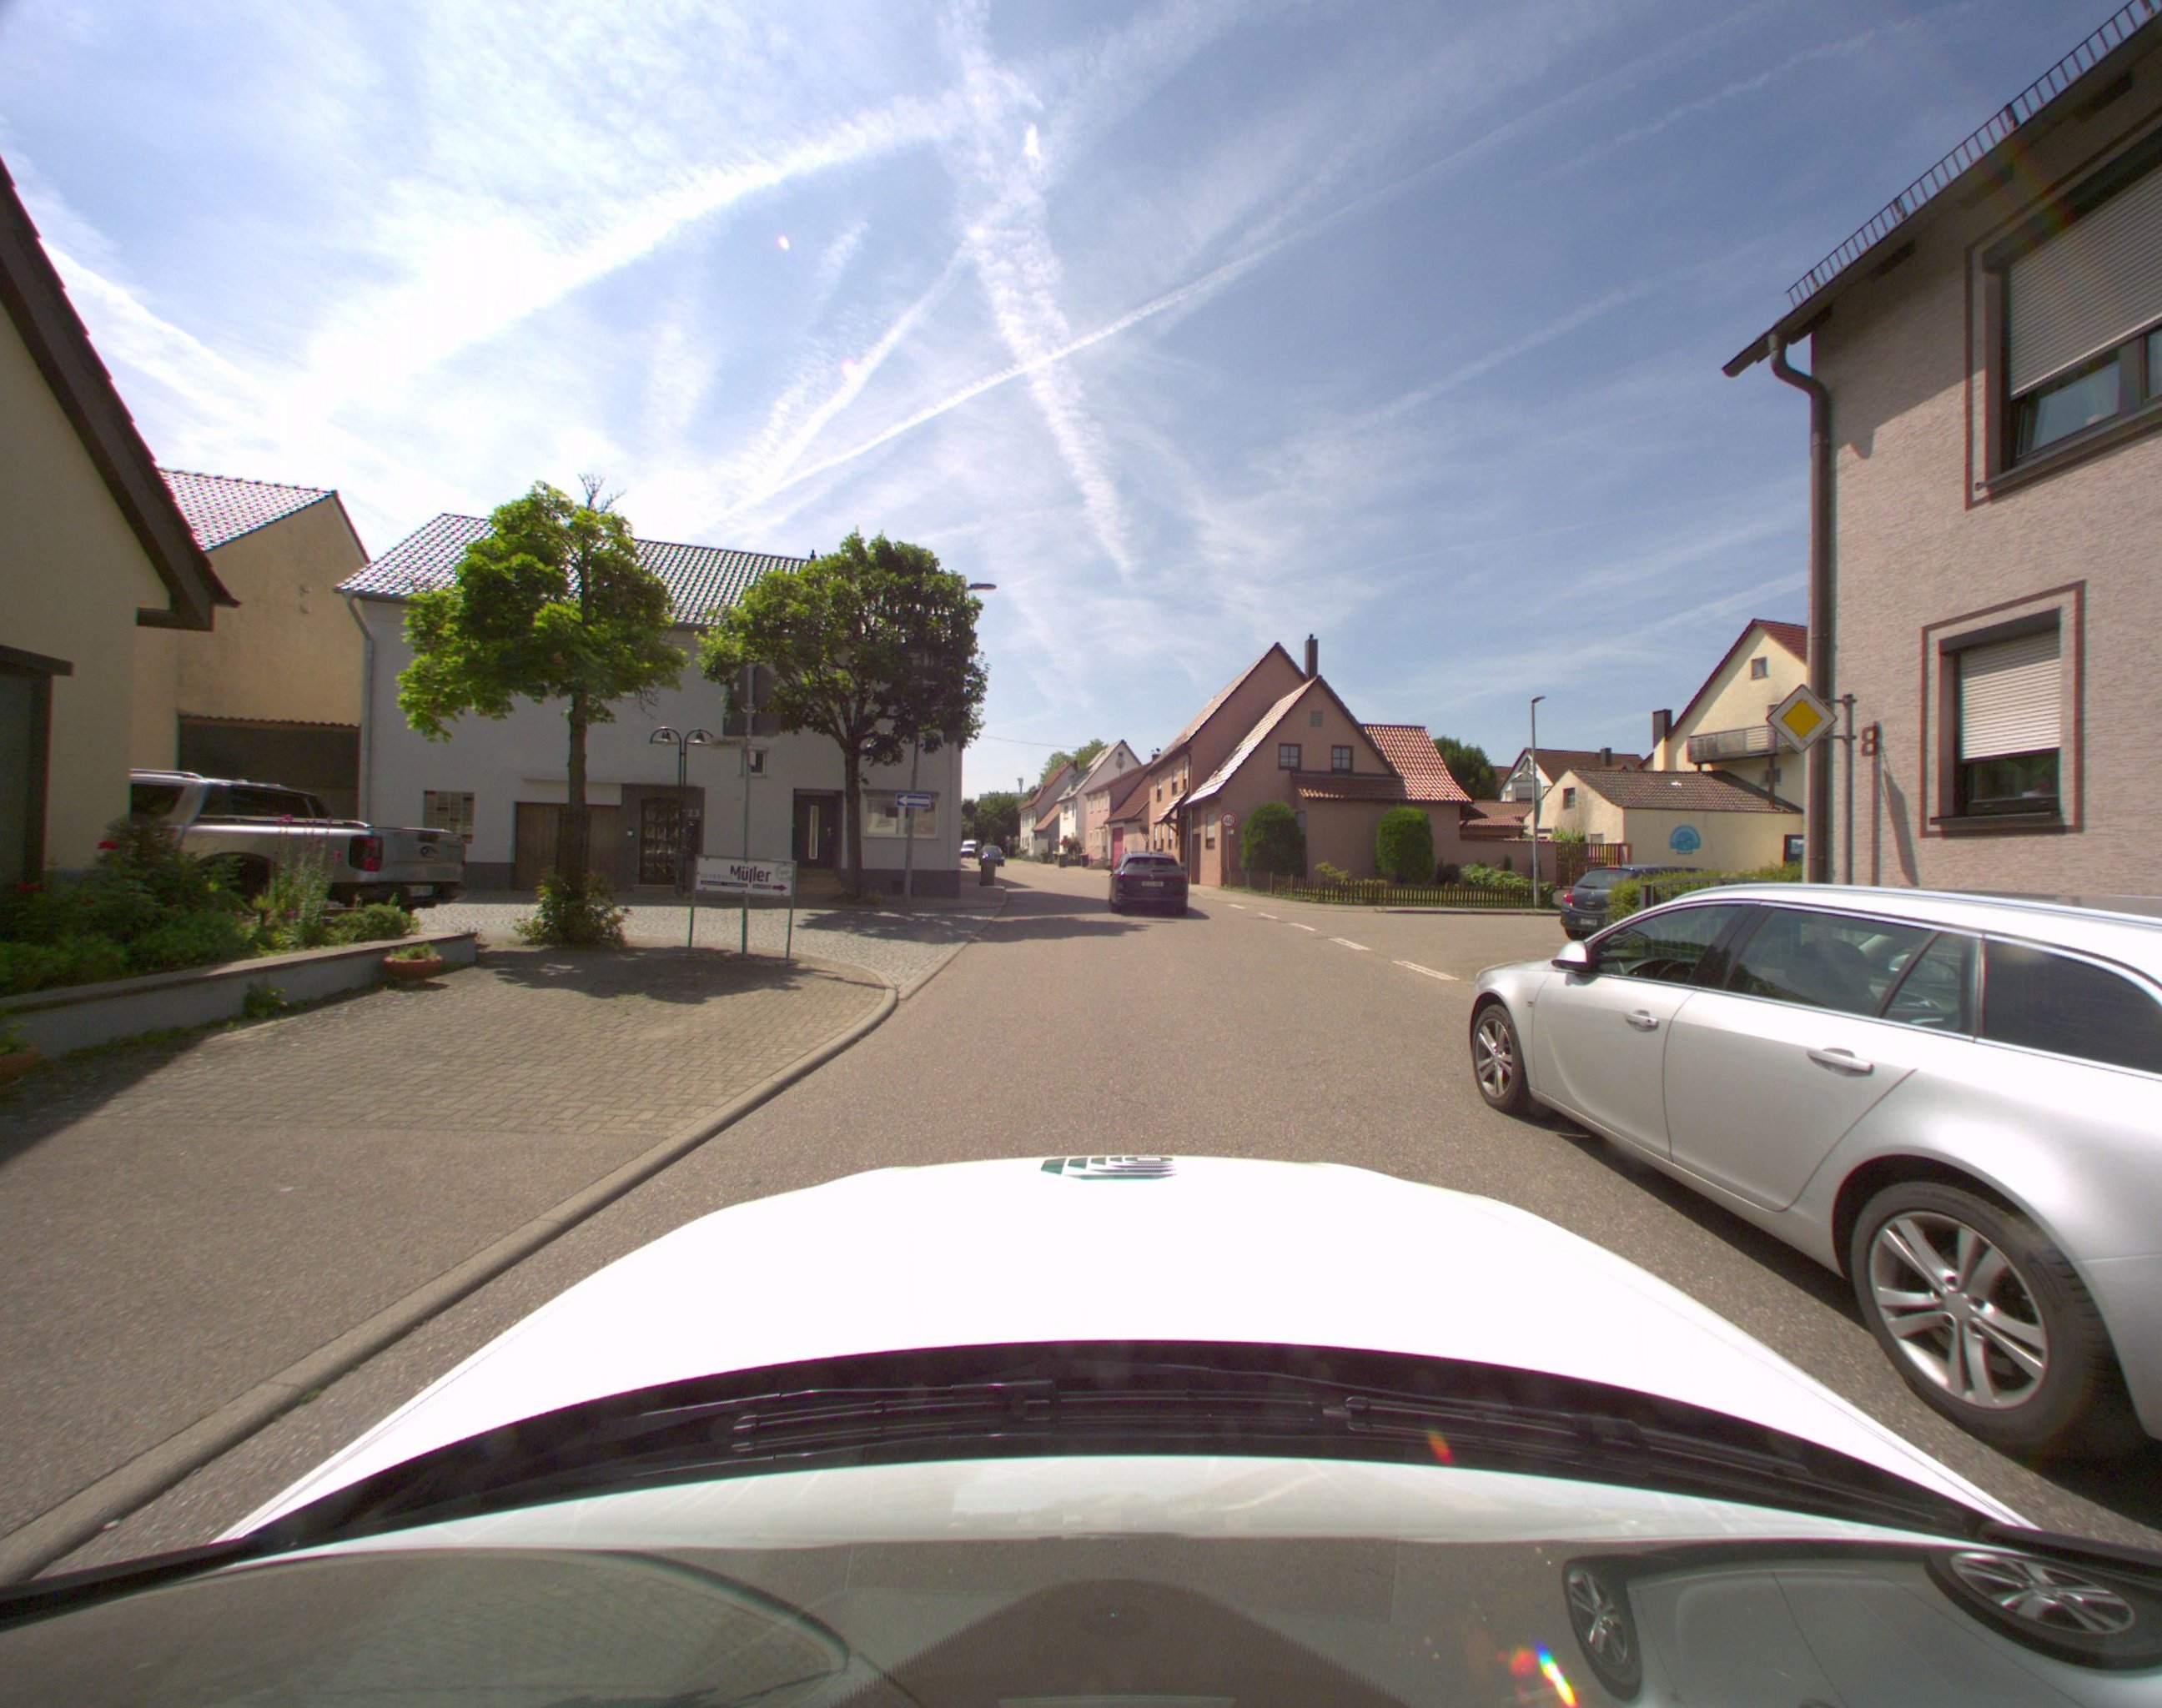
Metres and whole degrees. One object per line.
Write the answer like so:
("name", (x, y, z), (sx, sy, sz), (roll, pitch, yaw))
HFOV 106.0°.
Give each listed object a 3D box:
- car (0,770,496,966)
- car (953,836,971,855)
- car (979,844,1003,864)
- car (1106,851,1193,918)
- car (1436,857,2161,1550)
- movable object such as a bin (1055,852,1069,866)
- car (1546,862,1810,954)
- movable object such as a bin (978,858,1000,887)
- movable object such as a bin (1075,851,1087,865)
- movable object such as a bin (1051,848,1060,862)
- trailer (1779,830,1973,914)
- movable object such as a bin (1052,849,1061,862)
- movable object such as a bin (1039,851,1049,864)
("car", (-9.966, 0.134, 9.081), (5.103, 1.896, 2.169), (1, 0, -9))
("car", (-16.507, -1.210, 113.034), (2.111, 2.562, 5.817), (1, 1, -5))
("car", (-7.148, -0.037, 64.442), (1.798, 1.555, 4.060), (0, 1, -8))
("car", (1.578, 0.664, 20.311), (1.835, 1.420, 4.683), (0, 1, 1))
("car", (3.306, 0.798, 3.450), (1.779, 1.442, 4.339), (2, 1, 2))
("movable object such as a bin", (-1.480, 0.382, 63.612), (0.878, 1.074, 0.868), (-3, 2, -17))
("car", (10.762, 0.928, 14.781), (3.809, 1.488, 1.881), (1, 0, -14))
("movable object such as a bin", (-3.458, 0.678, 30.645), (0.753, 1.060, 0.678), (1, 1, -7))
("movable object such as a bin", (0.018, 0.286, 63.085), (0.680, 1.050, 0.830), (-3, 2, -17))
("movable object such as a bin", (-2.259, 0.109, 72.887), (0.665, 1.194, 0.657), (1, 0, -13))
("trailer", (29.076, 0.590, 30.038), (1.997, 2.813, 4.742), (1, 0, -15))
("movable object such as a bin", (-2.163, 0.123, 72.084), (0.665, 1.194, 0.585), (1, 0, -13))
("movable object such as a bin", (-3.343, 0.307, 72.837), (0.680, 1.155, 0.815), (2, 0, -17))
